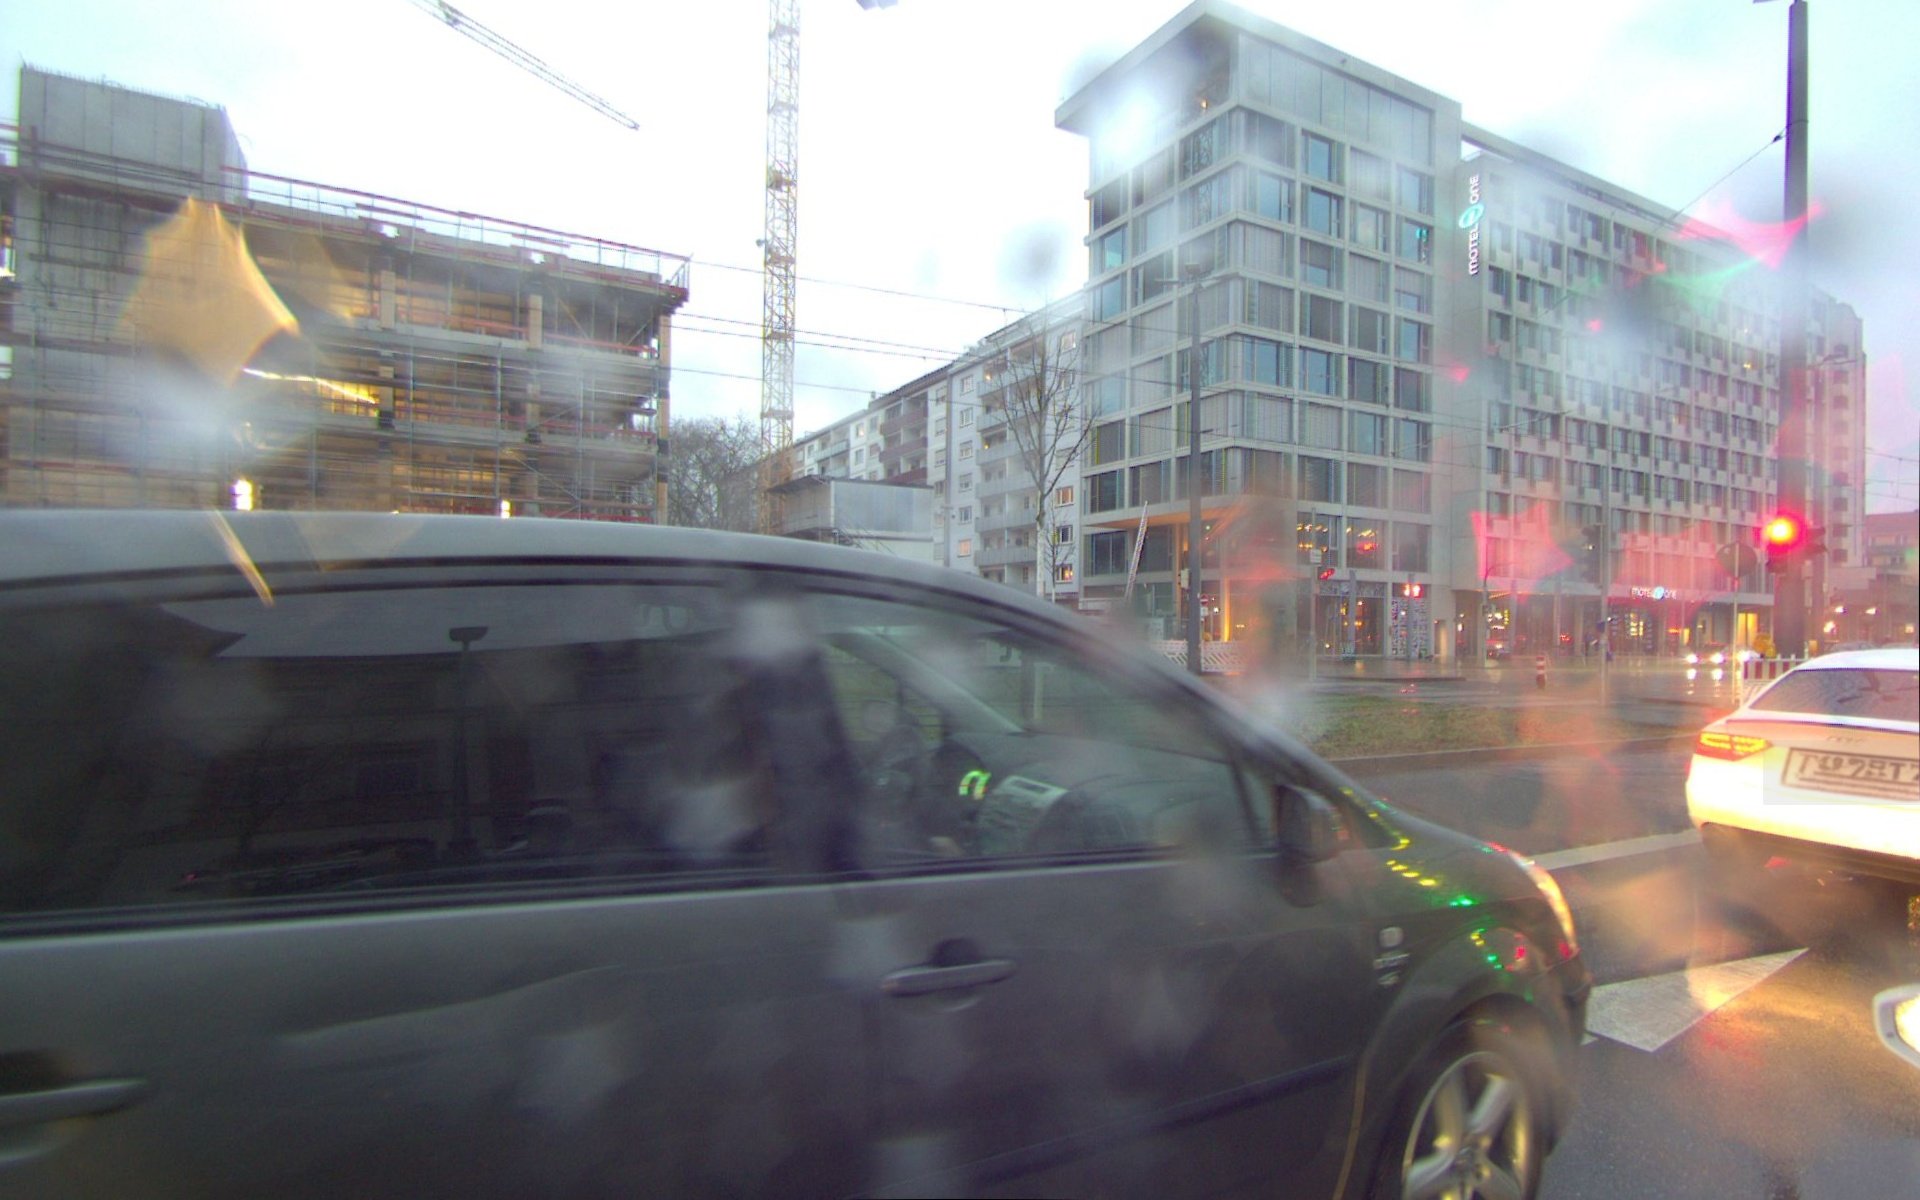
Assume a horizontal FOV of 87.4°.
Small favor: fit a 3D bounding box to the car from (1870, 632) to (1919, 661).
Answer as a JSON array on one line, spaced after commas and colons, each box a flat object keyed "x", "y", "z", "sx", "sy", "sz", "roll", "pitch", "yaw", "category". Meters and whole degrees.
[{"x": 52.593, "y": 2.583, "z": 55.722, "sx": 5.042, "sy": 1.481, "sz": 1.981, "roll": 2, "pitch": 0, "yaw": -34, "category": "car"}]

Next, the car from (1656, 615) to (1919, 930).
[{"x": 6.281, "y": 0.903, "z": 6.211, "sx": 4.205, "sy": 1.489, "sz": 1.750, "roll": 2, "pitch": 0, "yaw": -32, "category": "car"}]

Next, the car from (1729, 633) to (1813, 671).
[{"x": 41.752, "y": 2.669, "z": 51.692, "sx": 4.545, "sy": 1.813, "sz": 1.872, "roll": 2, "pitch": 0, "yaw": -30, "category": "car"}]

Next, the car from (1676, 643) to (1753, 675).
[{"x": 41.811, "y": 3.264, "z": 55.664, "sx": 3.949, "sy": 1.595, "sz": 1.874, "roll": 2, "pitch": 0, "yaw": -27, "category": "car"}]

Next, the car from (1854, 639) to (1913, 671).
[{"x": 47.805, "y": 2.804, "z": 51.965, "sx": 5.062, "sy": 1.481, "sz": 1.973, "roll": 2, "pitch": 0, "yaw": -45, "category": "car"}]

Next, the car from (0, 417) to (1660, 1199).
[{"x": -0.375, "y": 0.670, "z": 2.219, "sx": 3.956, "sy": 1.615, "sz": 1.750, "roll": 2, "pitch": 0, "yaw": -32, "category": "car"}]

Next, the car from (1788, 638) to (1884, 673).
[{"x": 42.008, "y": 2.644, "z": 48.137, "sx": 5.035, "sy": 1.481, "sz": 1.984, "roll": 2, "pitch": 0, "yaw": -30, "category": "car"}]
